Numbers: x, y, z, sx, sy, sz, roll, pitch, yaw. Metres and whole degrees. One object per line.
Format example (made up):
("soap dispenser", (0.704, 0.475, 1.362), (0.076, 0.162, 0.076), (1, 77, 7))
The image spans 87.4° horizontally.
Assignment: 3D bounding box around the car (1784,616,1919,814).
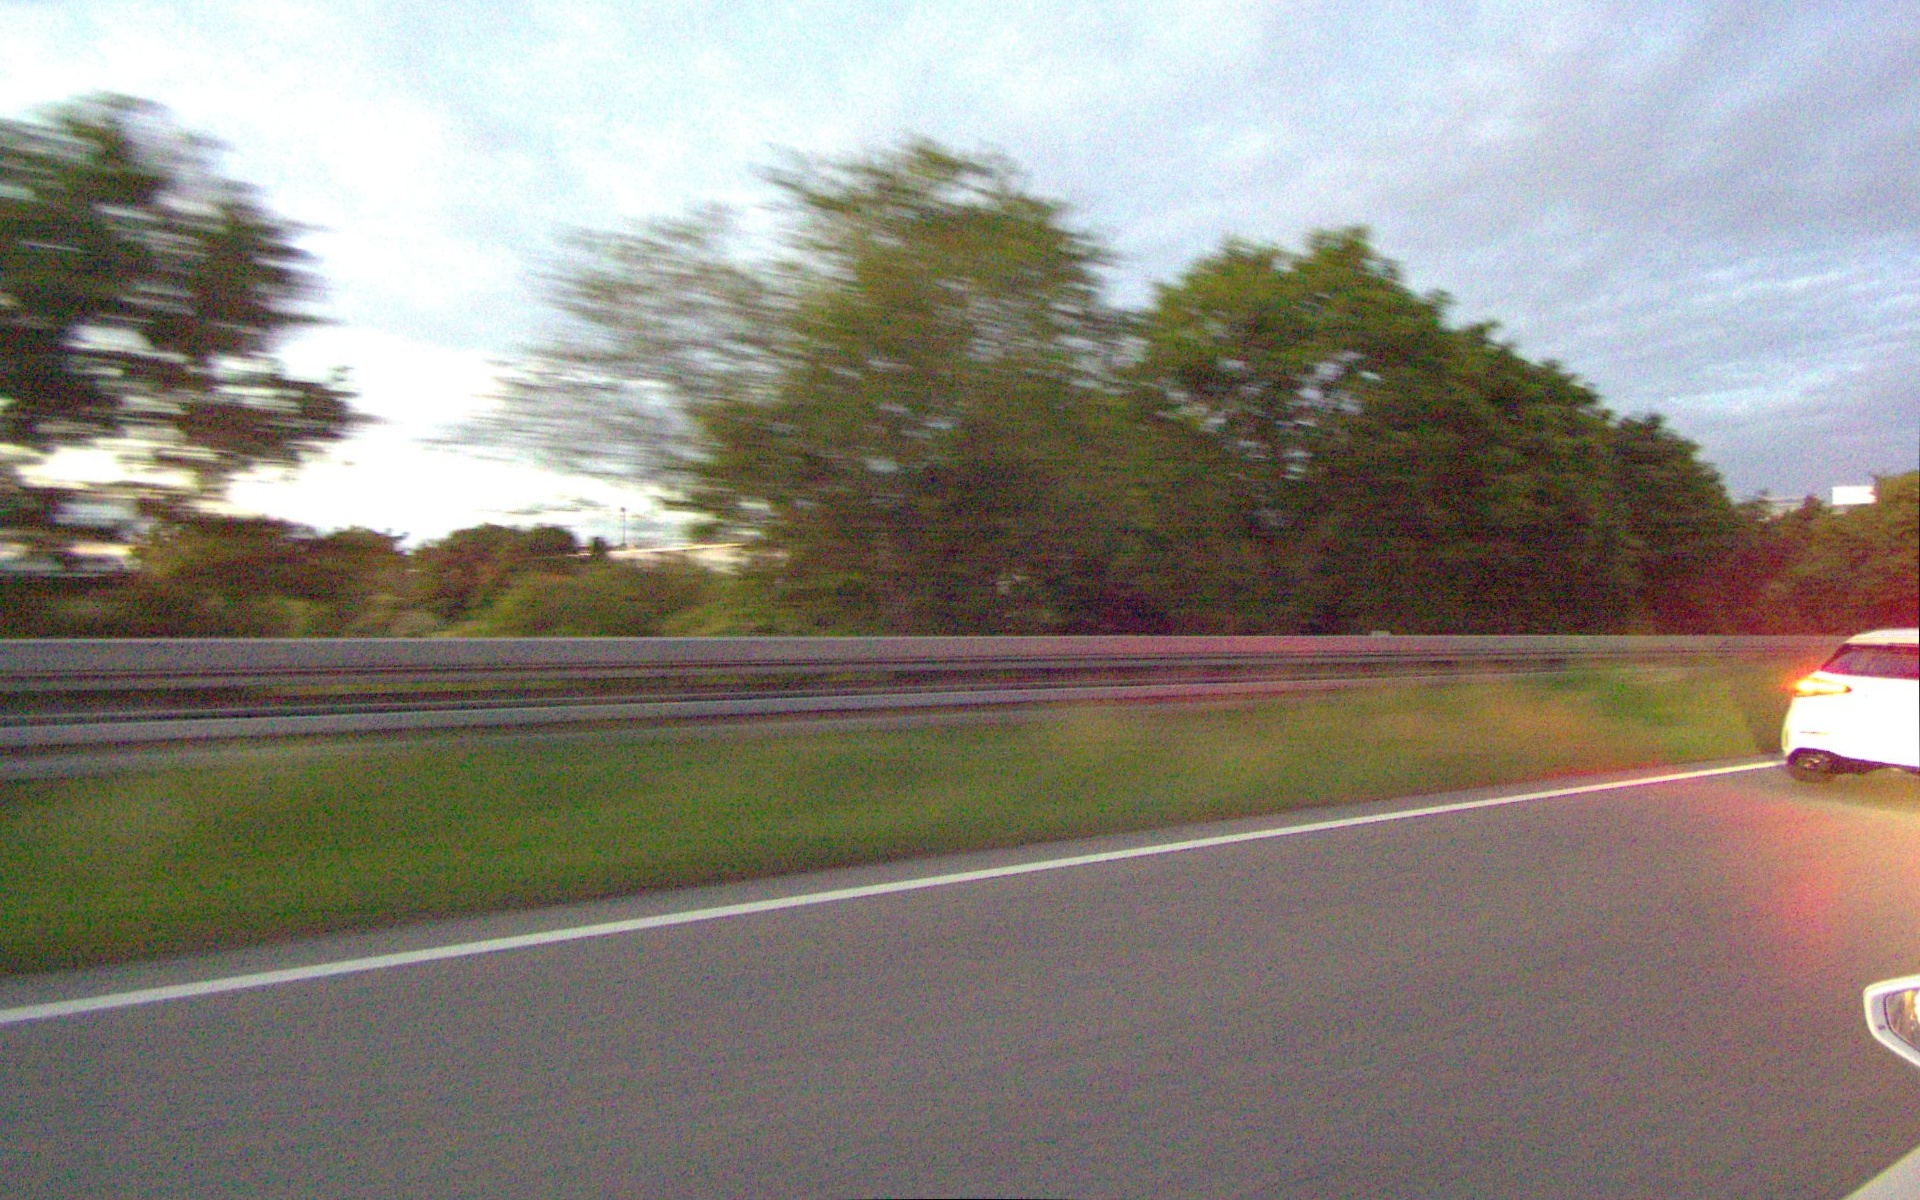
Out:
("car", (9.347, 0.952, 9.001), (4.528, 1.510, 1.633), (1, 0, -32))
